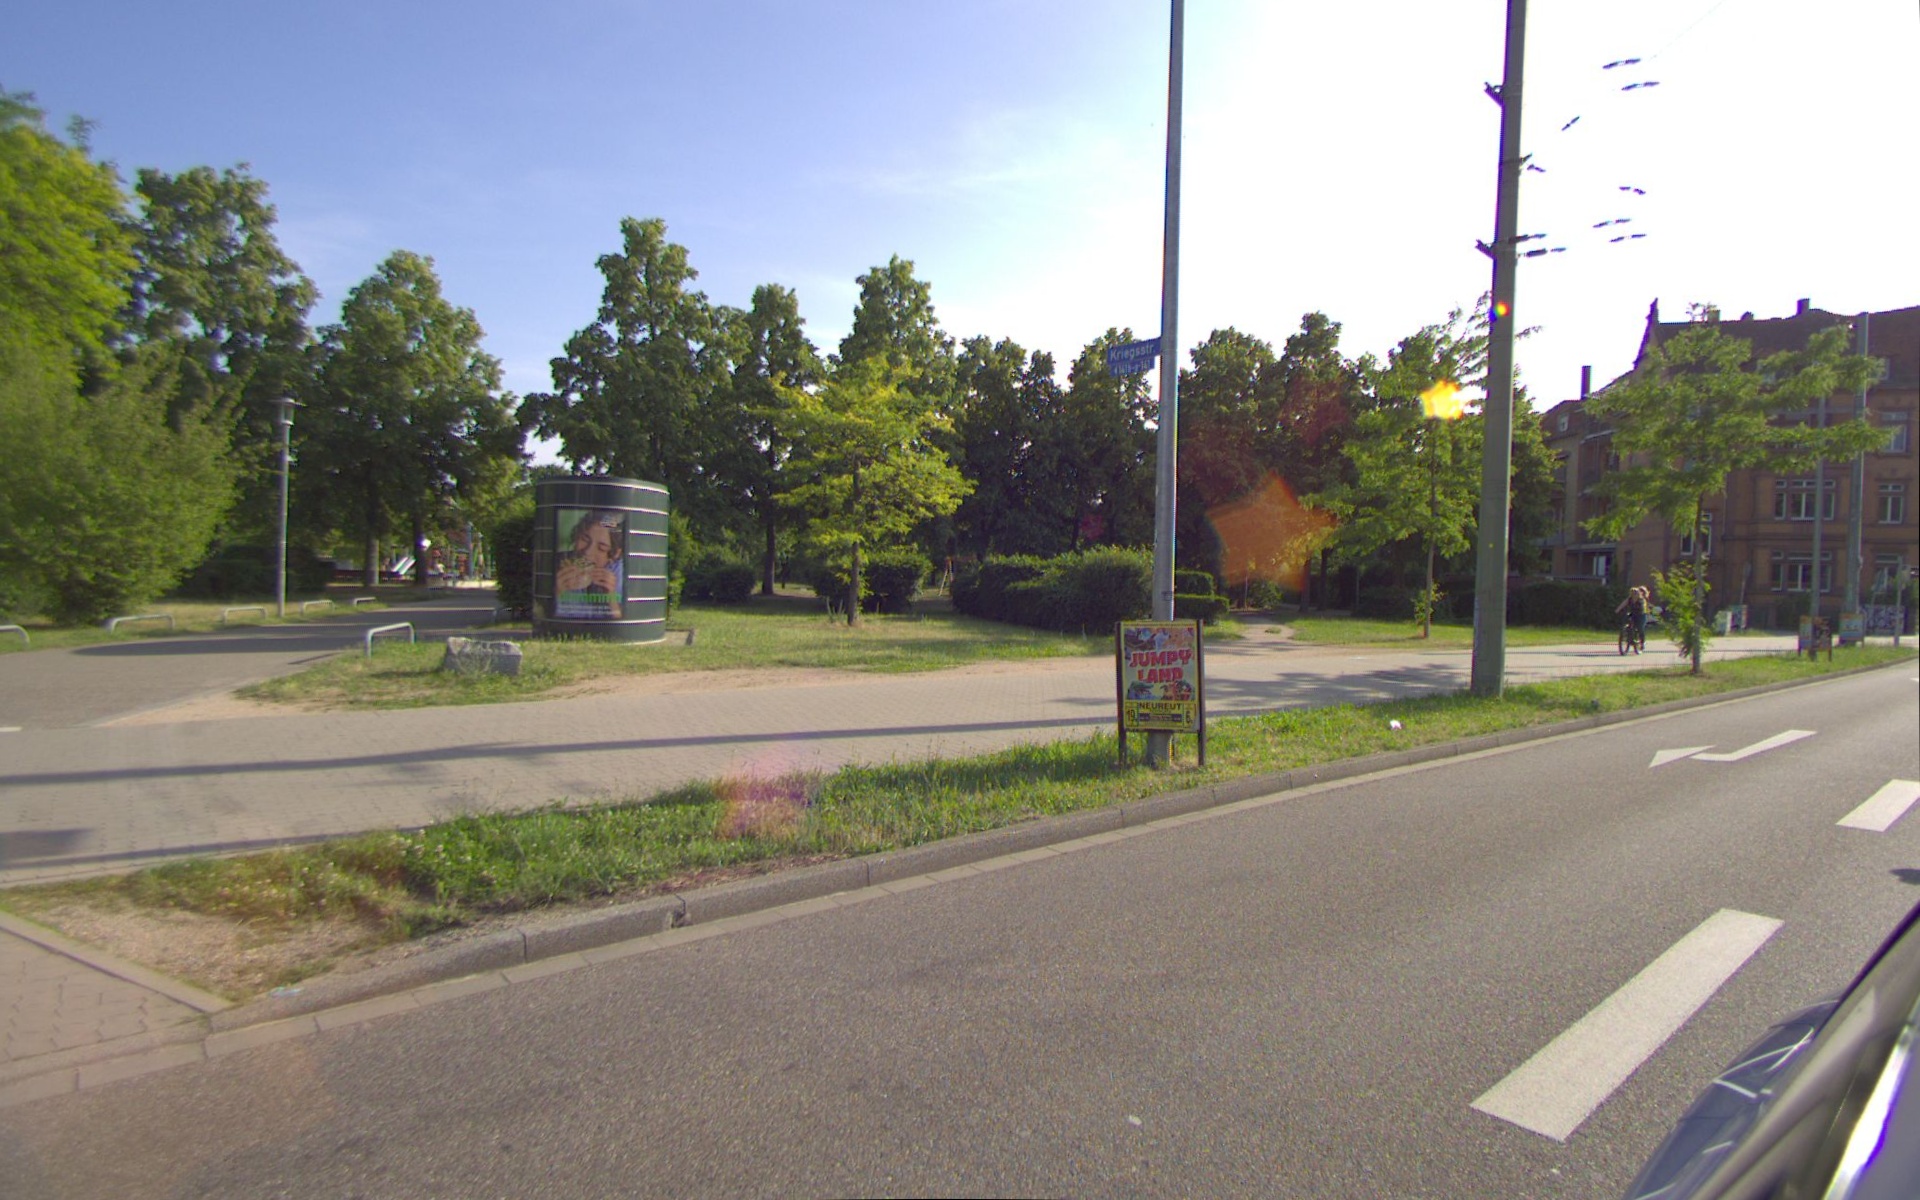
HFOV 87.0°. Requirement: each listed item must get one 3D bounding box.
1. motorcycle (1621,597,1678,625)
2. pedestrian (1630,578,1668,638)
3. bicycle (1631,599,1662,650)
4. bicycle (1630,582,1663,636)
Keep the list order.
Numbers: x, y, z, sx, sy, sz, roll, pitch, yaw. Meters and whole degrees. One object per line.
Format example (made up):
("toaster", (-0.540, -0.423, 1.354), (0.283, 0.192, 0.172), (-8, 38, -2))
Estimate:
("motorcycle", (30.886, 0.491, 45.346), (1.997, 1.174, 0.696), (2, 1, 45))
("pedestrian", (20.695, 0.232, 30.403), (0.538, 1.711, 0.617), (1, 6, -36))
("bicycle", (17.005, 0.589, 25.083), (0.480, 1.205, 1.326), (1, 0, 28))
("bicycle", (17.036, 0.211, 25.125), (0.570, 1.314, 0.681), (1, 0, 29))
